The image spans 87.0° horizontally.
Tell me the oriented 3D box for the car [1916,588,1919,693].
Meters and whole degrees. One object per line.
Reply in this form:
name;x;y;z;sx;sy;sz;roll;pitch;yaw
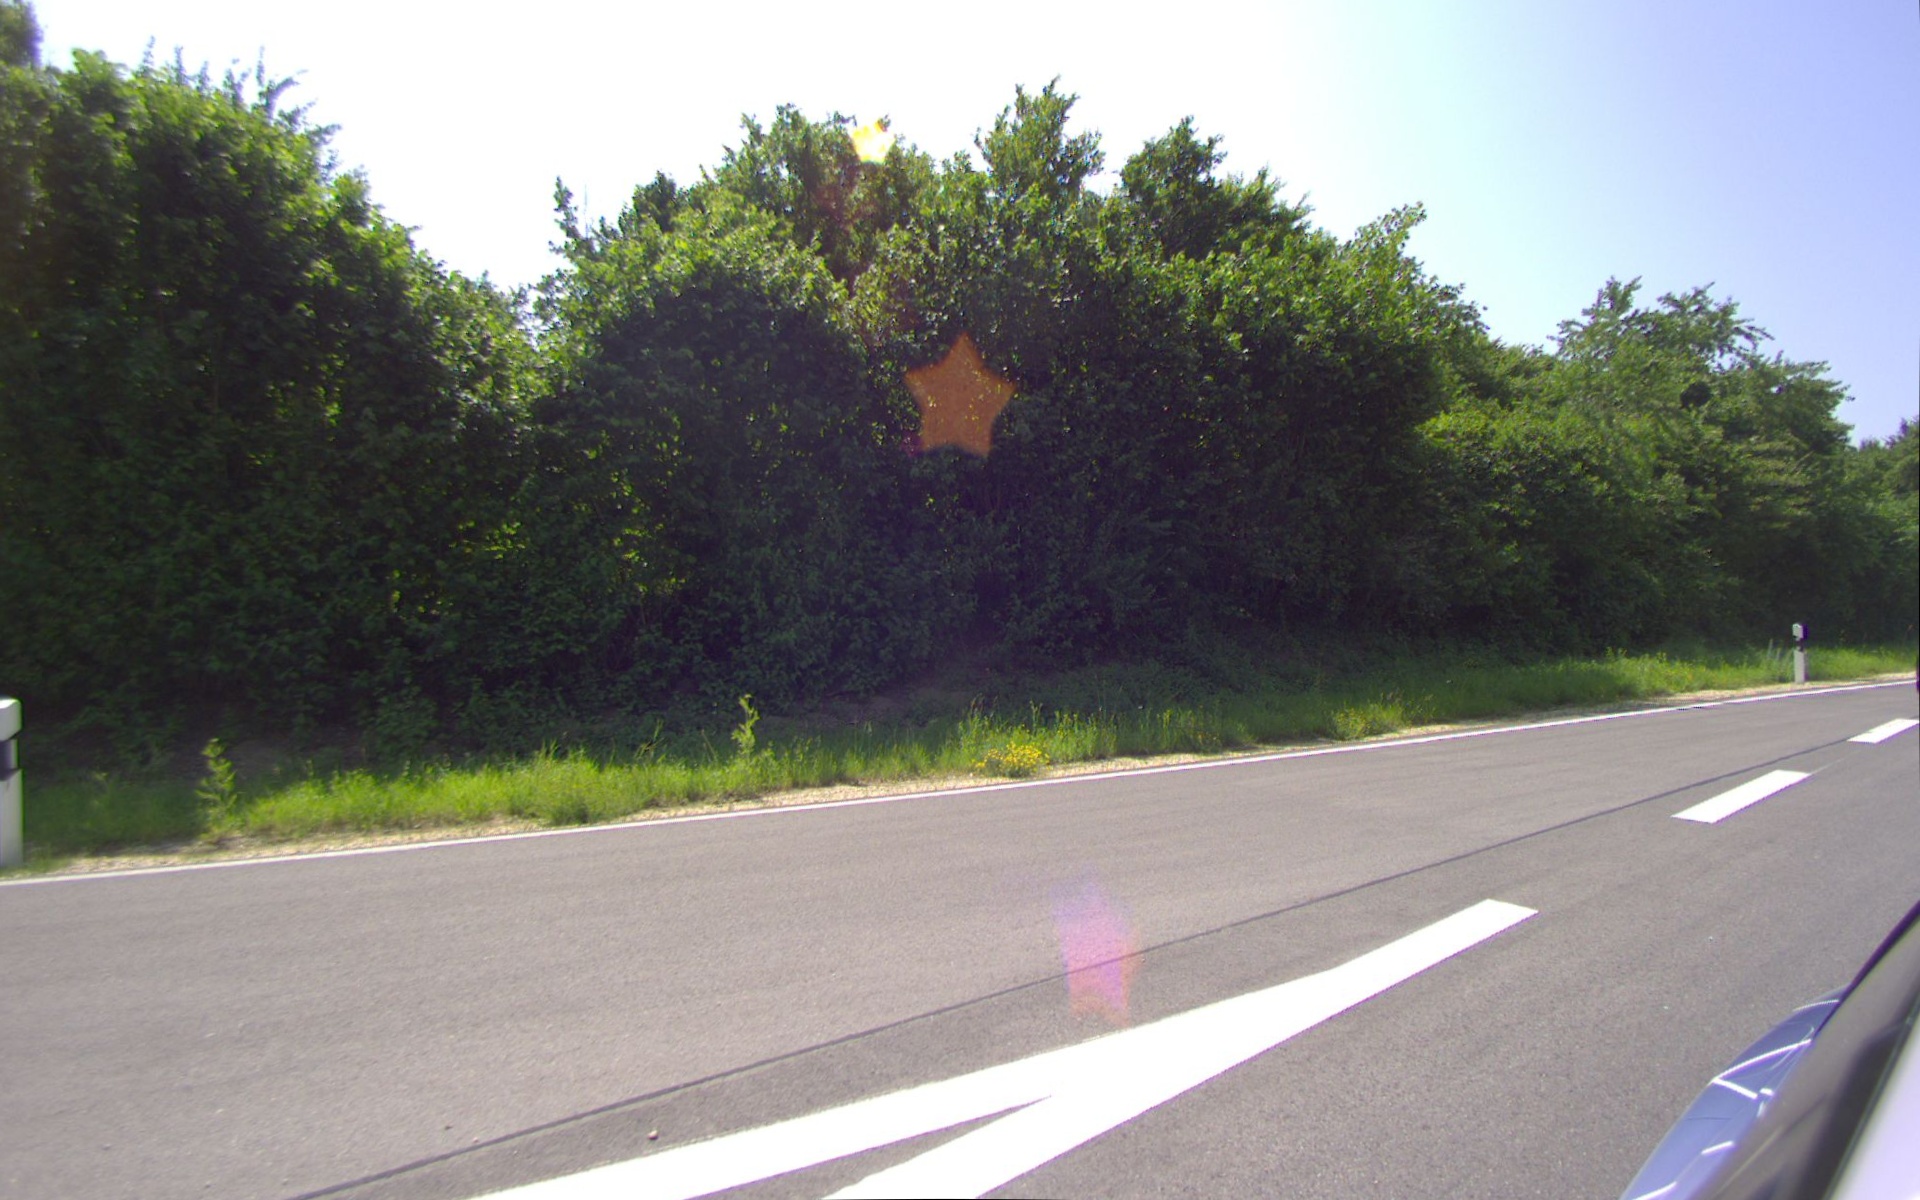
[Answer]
car;16.337;0.608;15.310;3.867;1.560;1.811;0;1;-32
